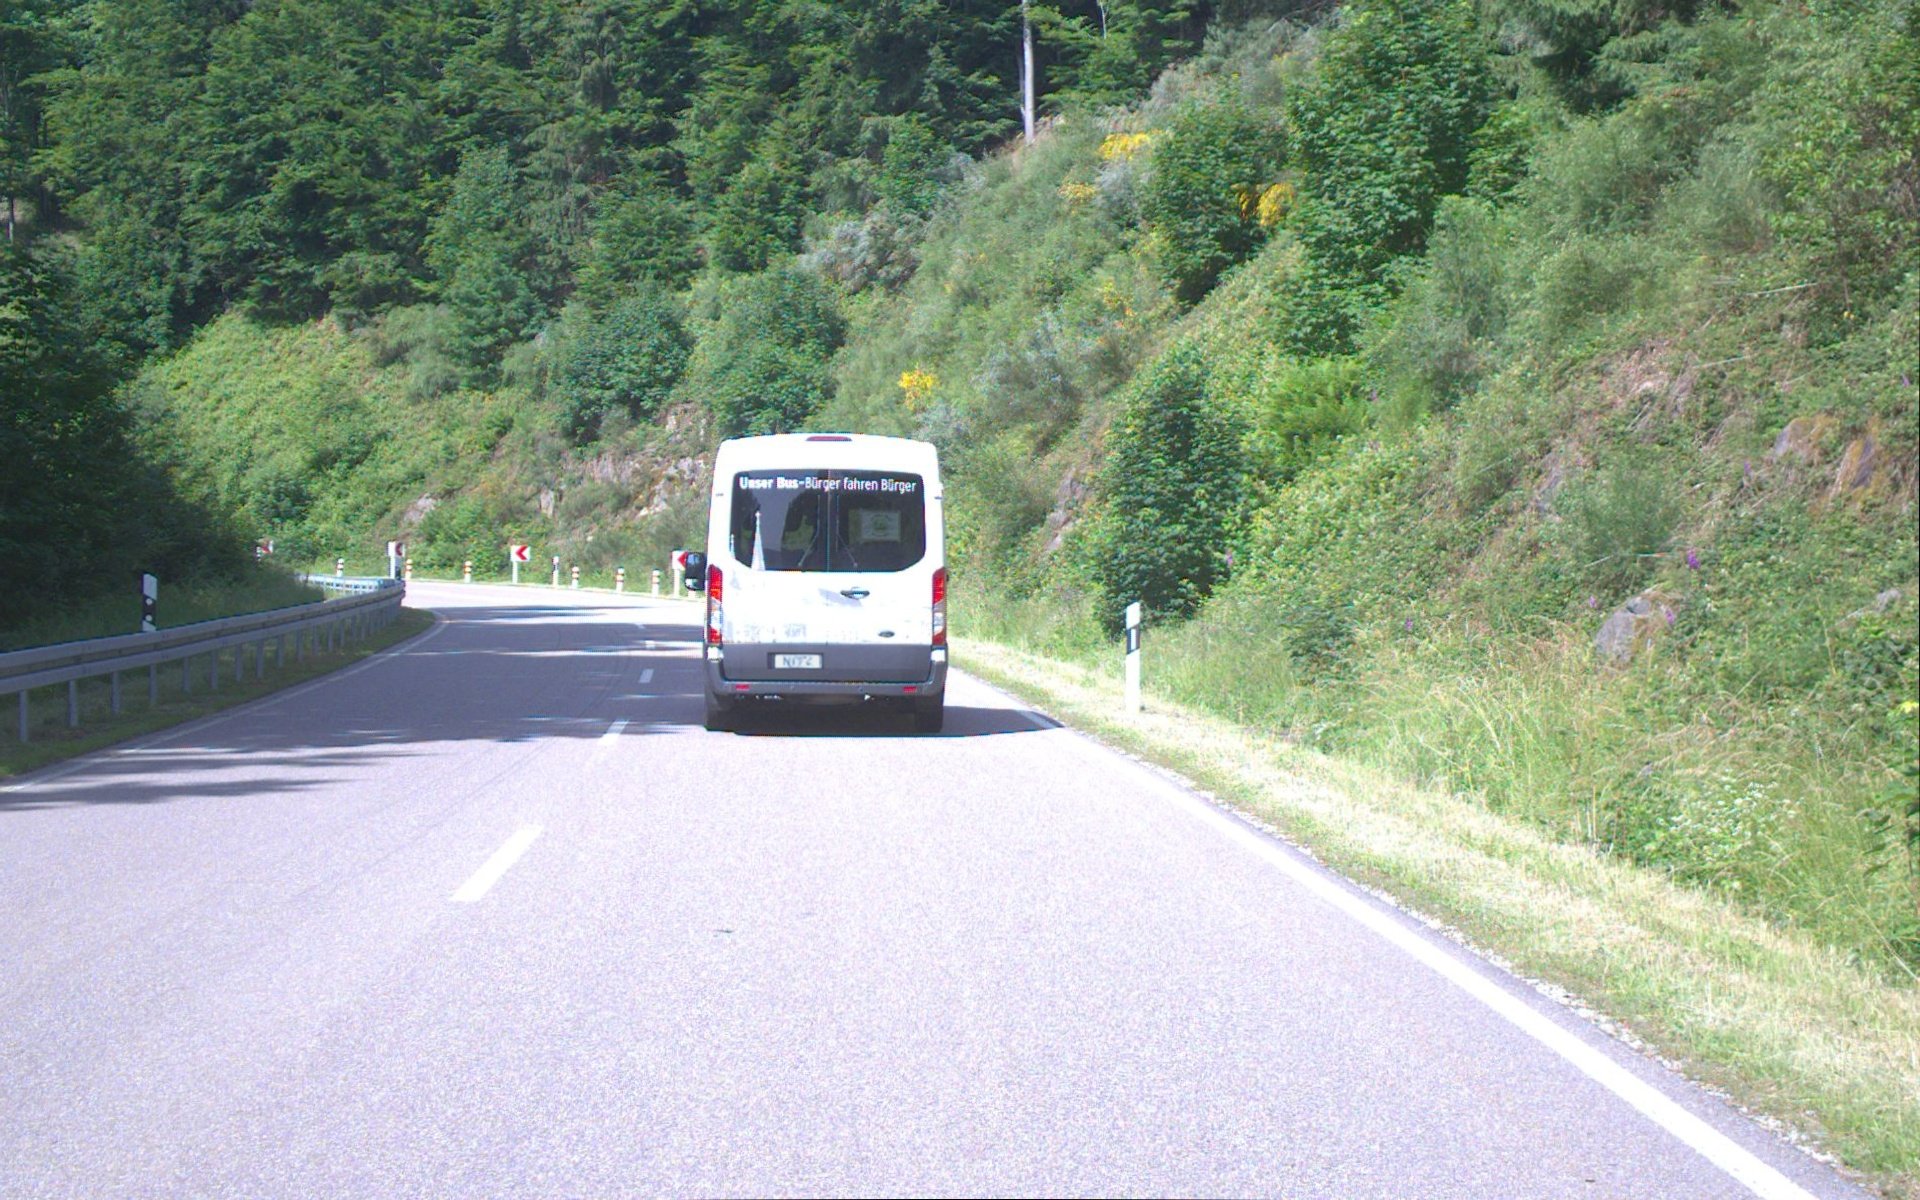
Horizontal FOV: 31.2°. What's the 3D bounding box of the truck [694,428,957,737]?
[{"bbox_3d":[-1.231,-0.175,29.944,2.083,2.451,4.876,0,1,-4],"label":"truck"}]
